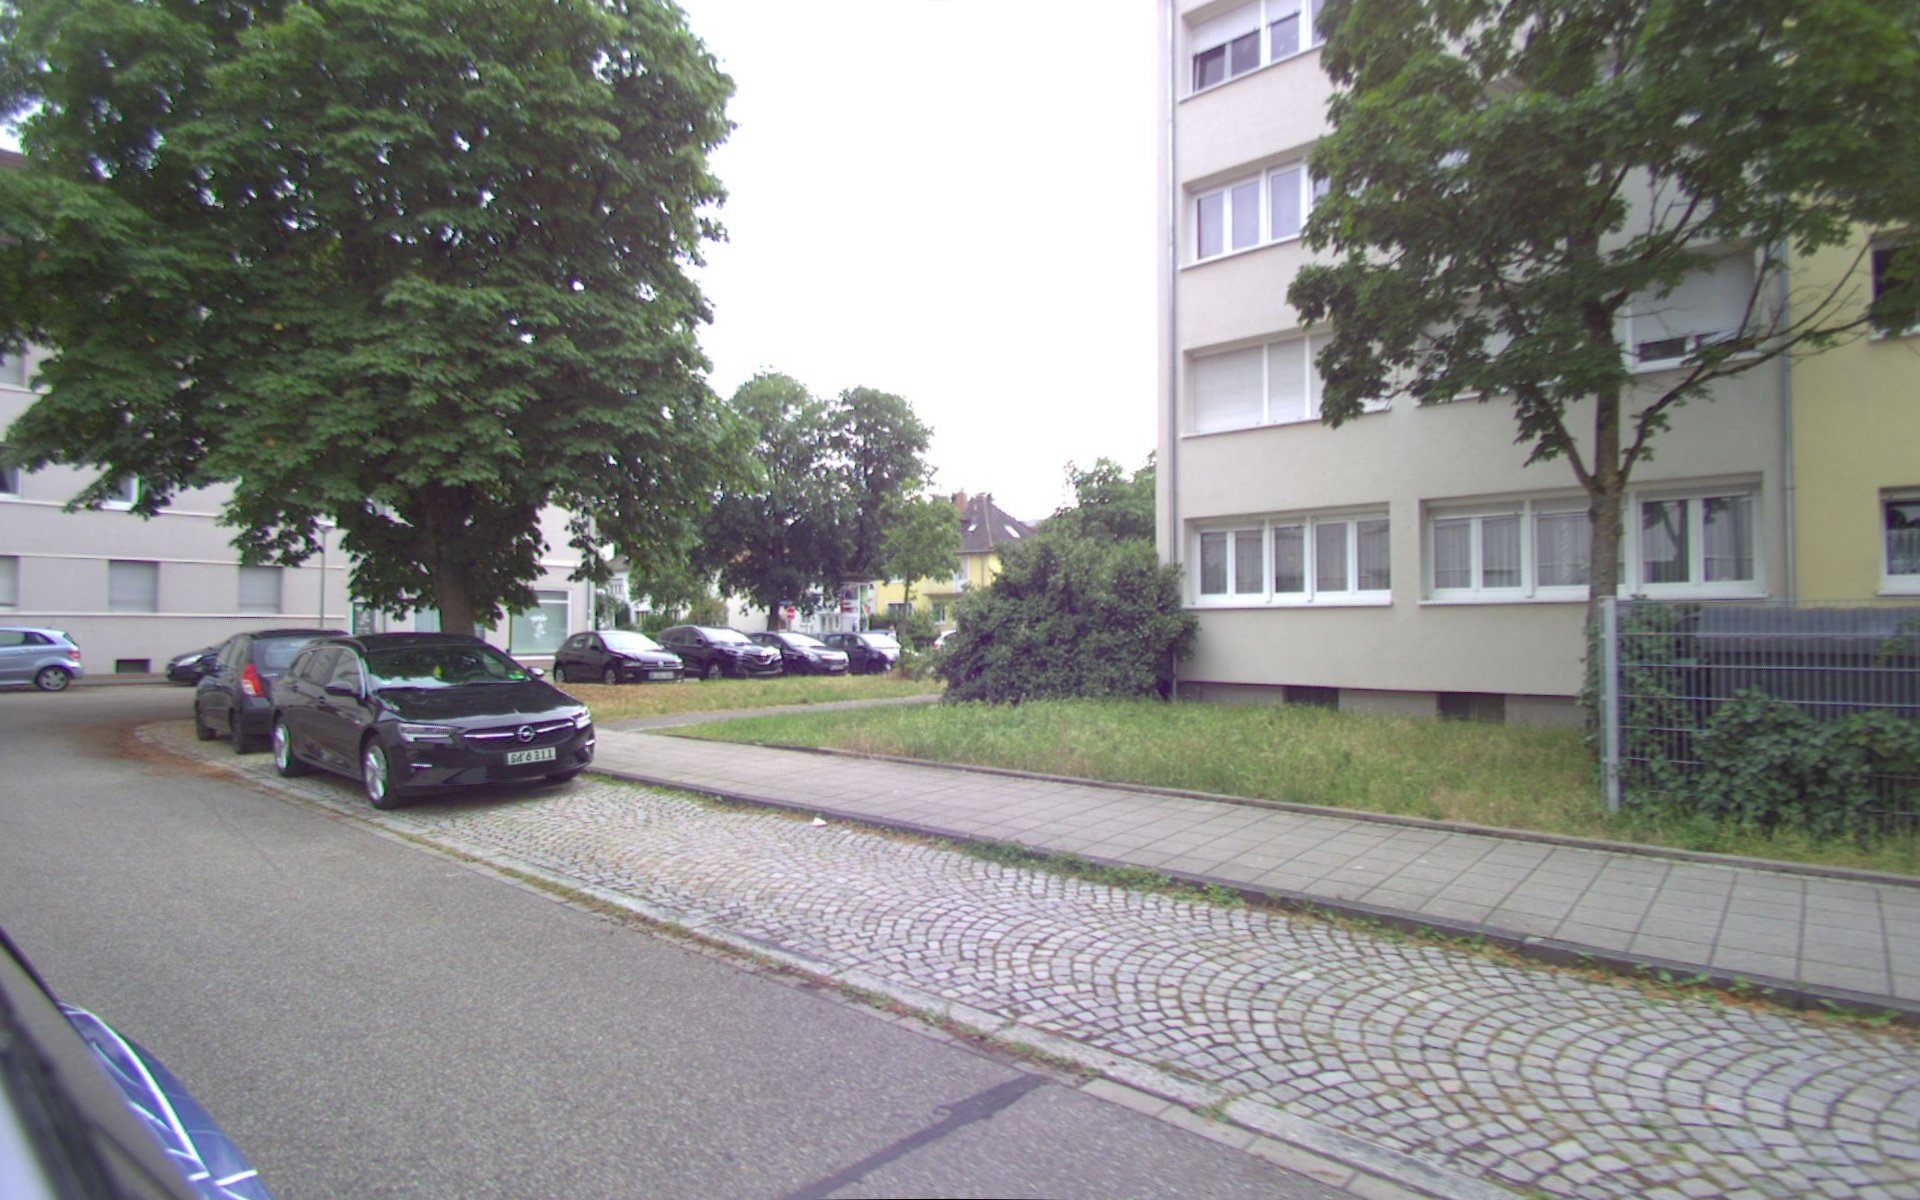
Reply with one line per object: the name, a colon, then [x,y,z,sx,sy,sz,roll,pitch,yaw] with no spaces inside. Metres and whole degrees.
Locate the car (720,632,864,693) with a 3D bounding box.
car: [-4.805,1.767,28.526,4.359,1.578,1.814,-4,-4,45]

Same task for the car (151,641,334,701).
car: [-20.040,1.947,28.385,1.762,1.501,3.883,-3,-3,41]

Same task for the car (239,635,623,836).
car: [-5.486,1.154,10.155,4.833,1.475,1.848,-3,-1,42]

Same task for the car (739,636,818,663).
car: [-11.037,2.973,61.488,4.874,1.578,1.880,-2,-3,36]

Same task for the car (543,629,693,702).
car: [-8.182,1.511,24.064,3.843,1.589,1.804,-2,-4,44]

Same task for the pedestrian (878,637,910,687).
pedestrian: [-2.455,2.303,37.920,0.871,1.850,1.213,-1,-2,15]

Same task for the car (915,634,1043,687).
car: [0.606,2.106,34.929,4.146,1.573,1.859,-7,-5,41]

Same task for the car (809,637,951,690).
car: [-2.517,1.935,30.943,1.814,1.475,4.562,2,-4,-45]

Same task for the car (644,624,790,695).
car: [-6.444,1.562,26.626,4.070,1.710,1.888,-4,-4,45]

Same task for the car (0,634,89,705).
car: [-23.606,1.668,24.126,1.763,1.640,4.139,-3,-3,43]

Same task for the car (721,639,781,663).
car: [-14.532,3.560,70.213,4.200,1.578,1.685,-2,-2,35]

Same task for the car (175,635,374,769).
car: [-9.331,1.275,13.675,3.592,1.505,1.507,-3,-1,44]
